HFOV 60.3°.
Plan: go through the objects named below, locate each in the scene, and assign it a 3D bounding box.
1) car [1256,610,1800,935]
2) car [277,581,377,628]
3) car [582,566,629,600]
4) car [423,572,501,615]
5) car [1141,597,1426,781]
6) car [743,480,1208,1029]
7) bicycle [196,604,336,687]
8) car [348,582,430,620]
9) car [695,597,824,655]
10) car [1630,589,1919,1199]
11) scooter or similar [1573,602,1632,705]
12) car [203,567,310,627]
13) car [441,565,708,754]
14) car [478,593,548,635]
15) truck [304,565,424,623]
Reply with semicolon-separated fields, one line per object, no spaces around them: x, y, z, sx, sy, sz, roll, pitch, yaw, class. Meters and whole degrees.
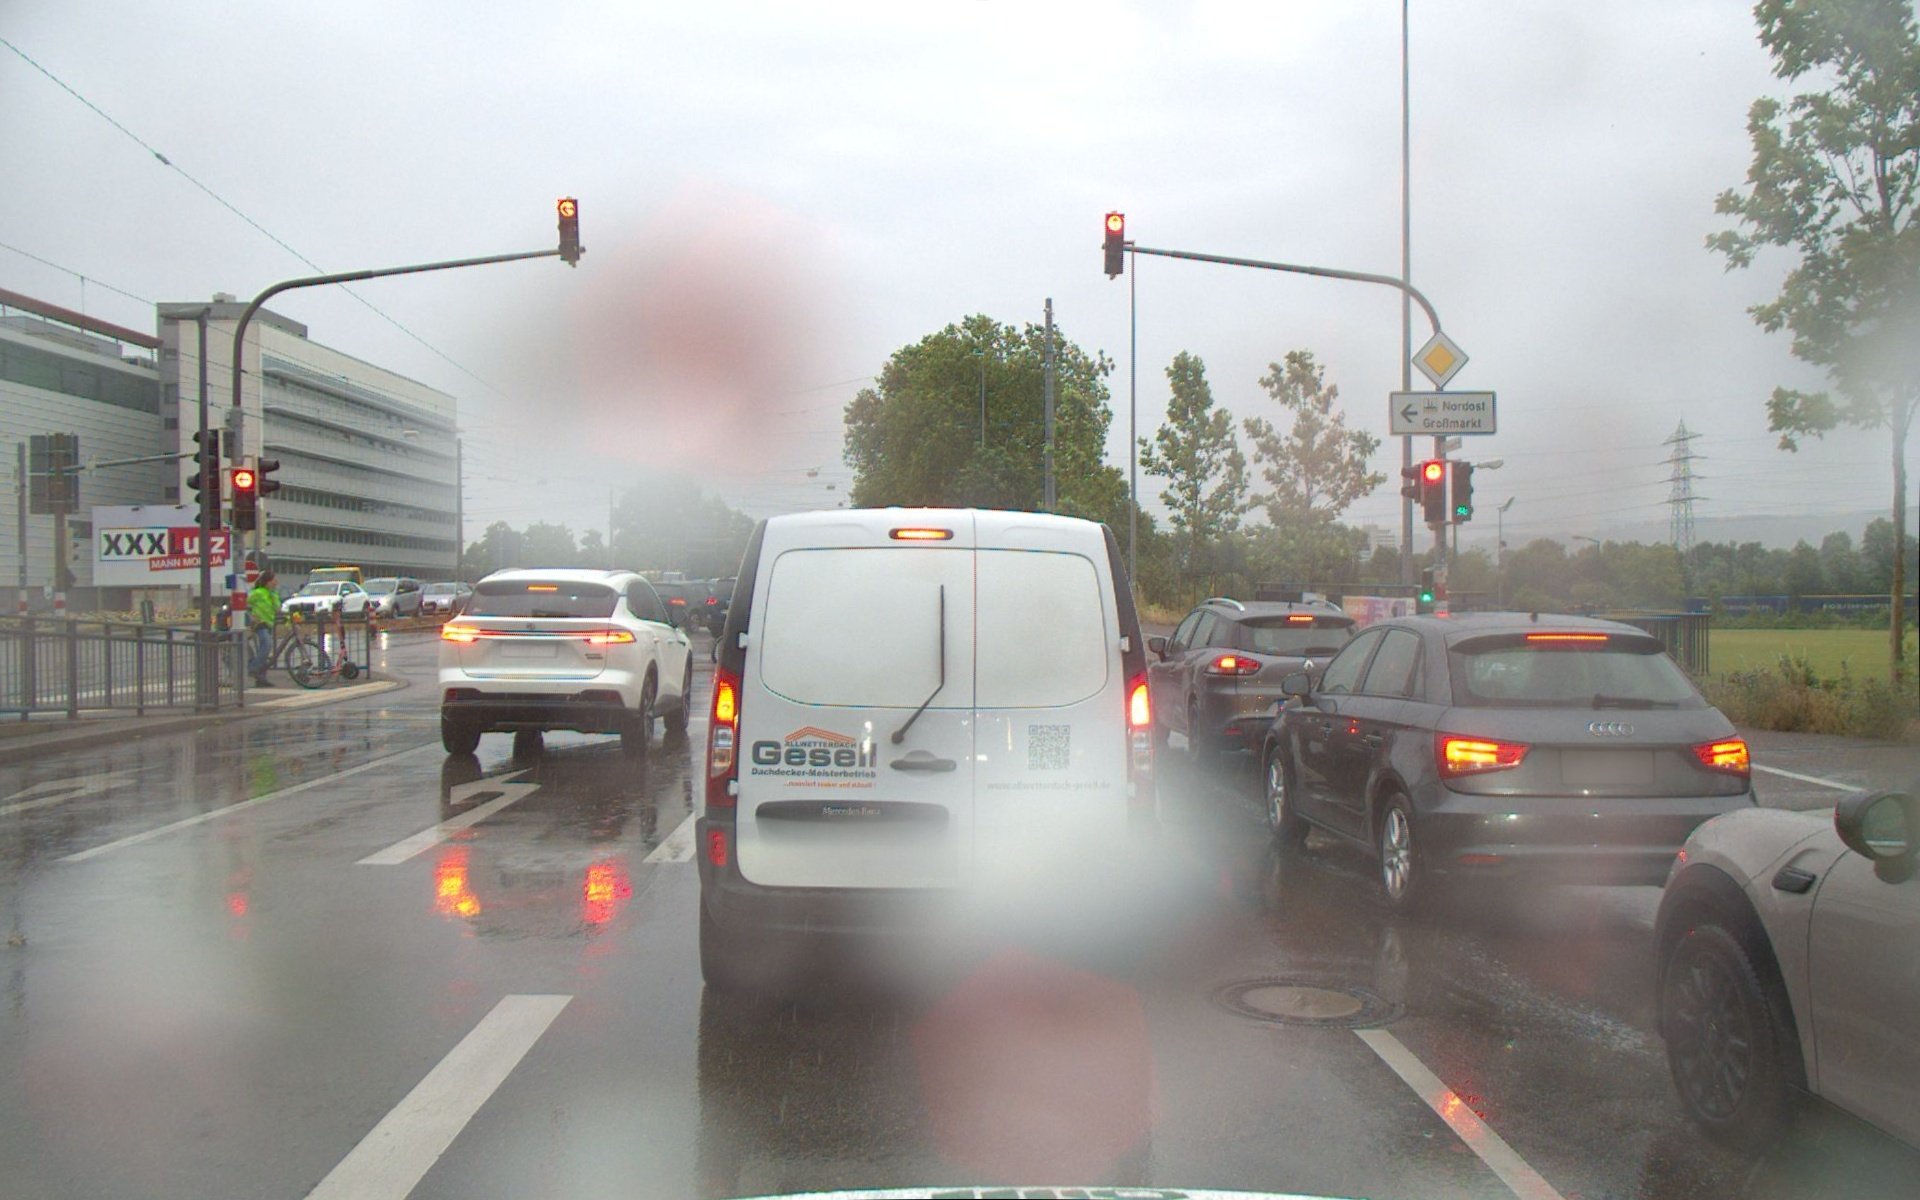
2.787;0.758;8.960;1.596;1.368;3.622;1;0;-2;car
-21.668;0.161;56.799;1.662;1.518;3.878;1;0;5;car
-22.198;-1.063;103.720;1.952;2.049;4.000;1;0;1;car
-21.052;-0.247;70.042;1.853;1.729;4.001;1;0;3;car
2.885;0.738;15.576;1.822;1.453;3.806;1;1;-2;car
0.027;0.519;7.504;1.534;1.819;3.999;0;0;-1;car
-9.755;0.638;23.281;1.716;1.052;0.414;4;-1;-3;bicycle
-21.579;0.061;62.625;1.554;1.359;3.832;1;-1;4;car
-5.217;0.676;43.504;1.476;1.447;3.862;1;0;27;car
2.941;0.760;3.248;1.679;1.534;3.622;1;0;-2;car
7.581;0.614;19.549;0.240;1.178;1.186;1;0;1;scooter or similar
-25.292;-0.096;59.603;1.952;2.049;4.002;1;0;3;car
-3.569;0.480;16.080;1.694;1.562;4.296;1;1;-2;car
-20.801;0.655;77.110;1.889;1.859;4.002;1;0;4;car
-25.127;-0.227;70.121;2.303;2.319;7.632;1;0;0;truck
